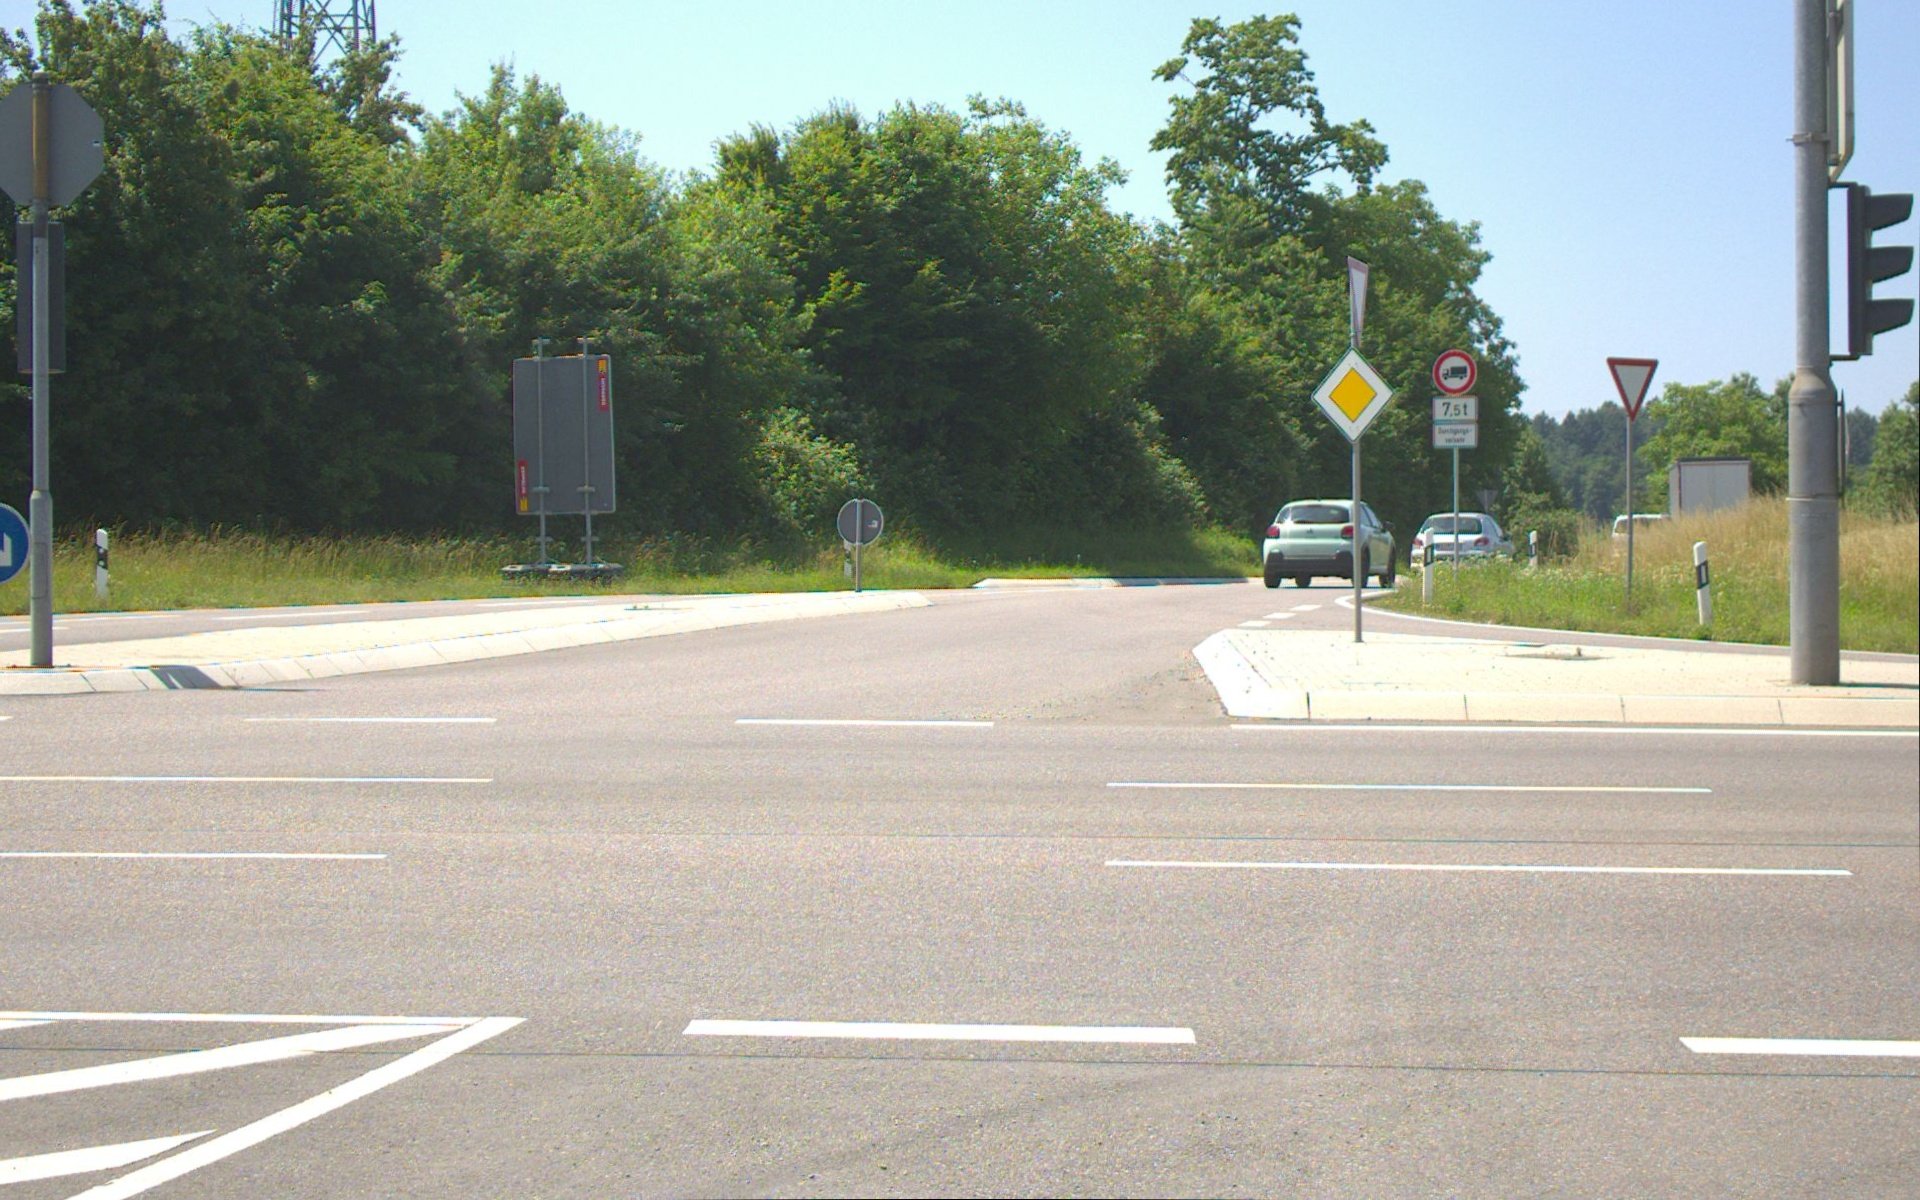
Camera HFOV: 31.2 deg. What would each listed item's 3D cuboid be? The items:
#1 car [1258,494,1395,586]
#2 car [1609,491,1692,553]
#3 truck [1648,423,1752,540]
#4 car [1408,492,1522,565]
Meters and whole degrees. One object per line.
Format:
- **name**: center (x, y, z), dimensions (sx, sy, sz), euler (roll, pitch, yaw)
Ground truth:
- **car**: center (6.218, -1.041, 58.023), dimensions (1.730, 1.399, 3.985), euler (2, 3, 14)
- **car**: center (19.042, -2.159, 94.732), dimensions (1.814, 1.619, 4.057), euler (0, 3, 17)
- **truck**: center (27.860, -4.411, 130.023), dimensions (3.127, 4.158, 16.680), euler (0, 1, 10)
- **car**: center (10.429, -1.495, 70.811), dimensions (1.814, 1.408, 3.781), euler (1, 3, 16)
